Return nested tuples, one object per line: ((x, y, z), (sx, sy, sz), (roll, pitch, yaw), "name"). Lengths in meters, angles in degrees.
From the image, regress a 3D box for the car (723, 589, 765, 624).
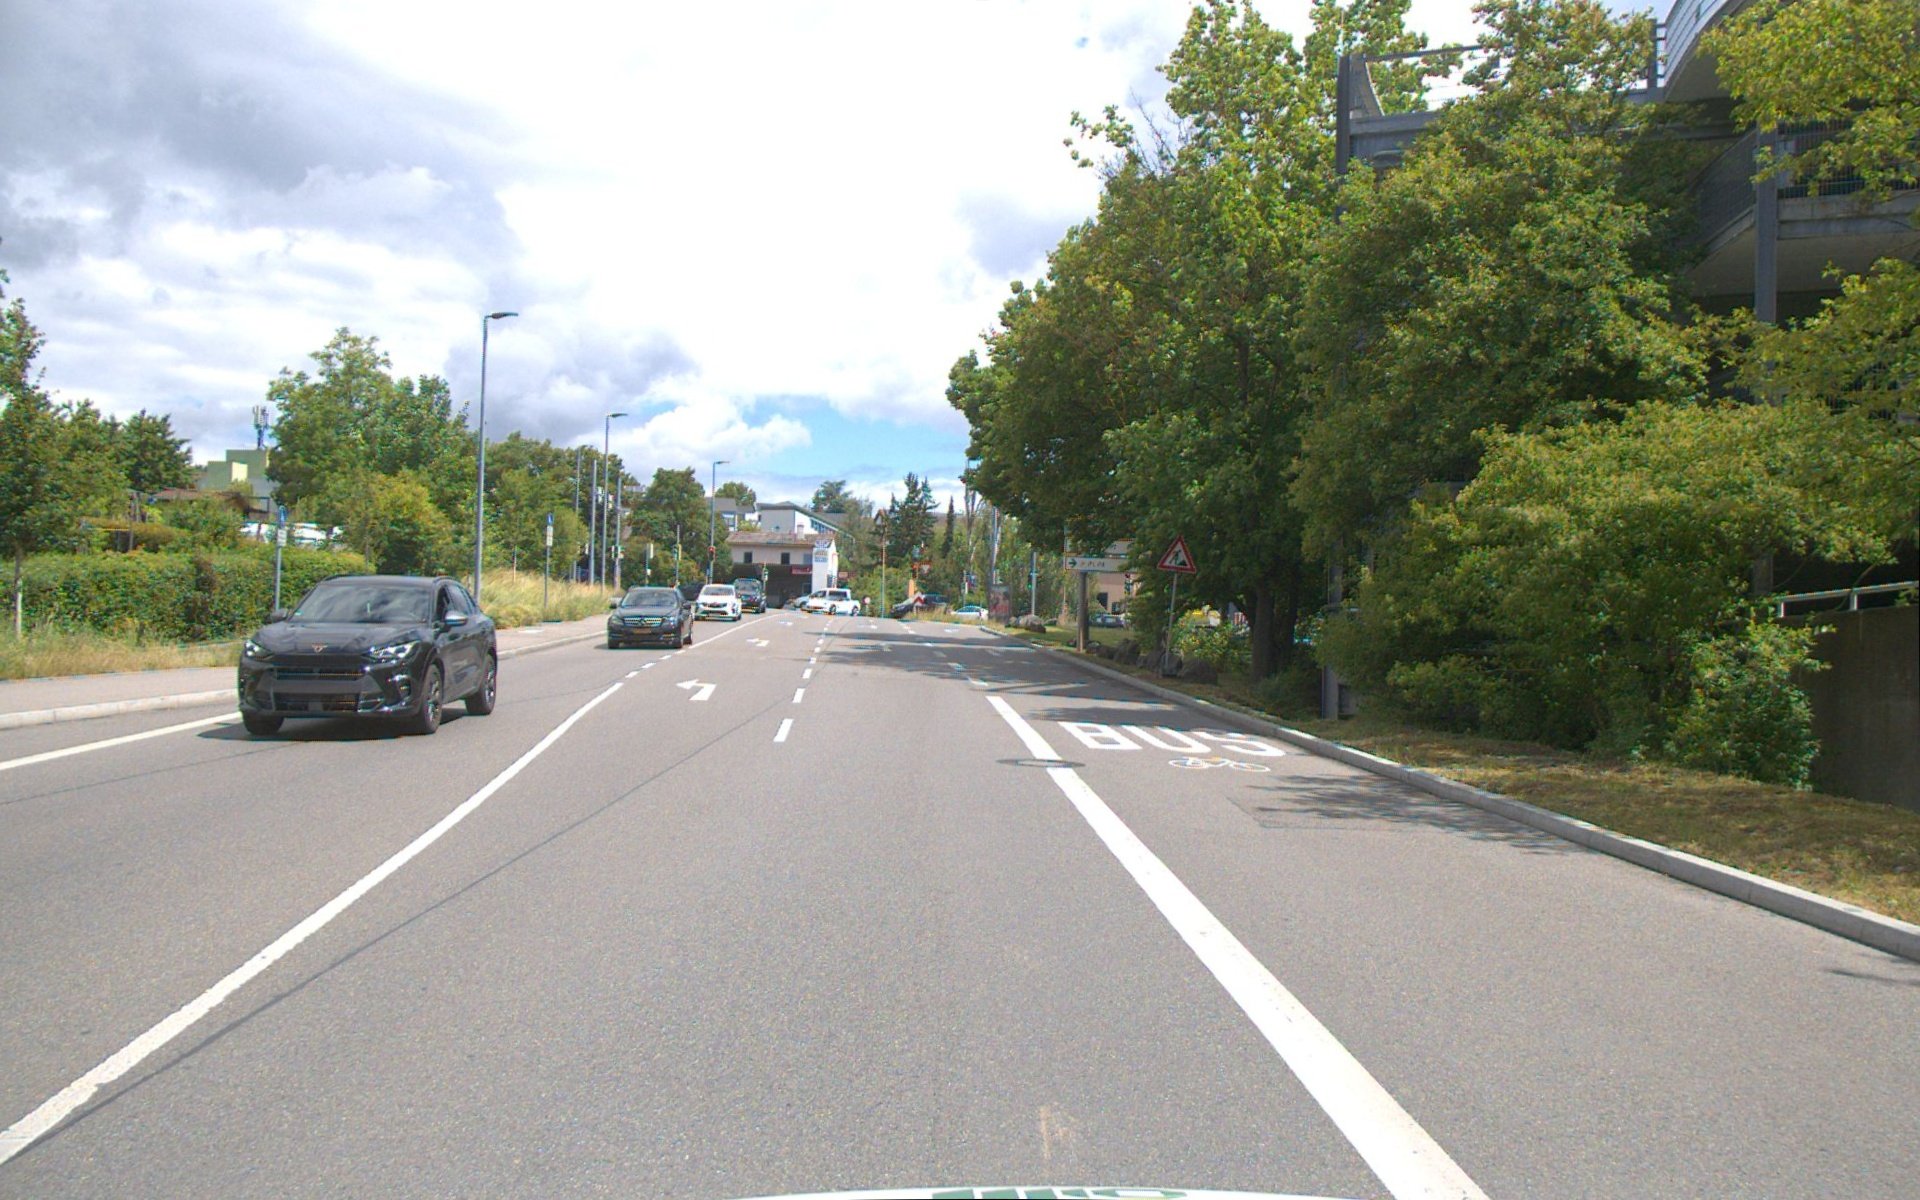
((-11.049, 0.319, 84.858), (1.785, 1.683, 4.530), (1, 0, -3), "car")

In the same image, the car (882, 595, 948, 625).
((-3.016, 0.699, 112.617), (1.757, 1.810, 4.785), (0, -3, 40), "car")

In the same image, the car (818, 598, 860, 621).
((-10.212, 0.813, 139.241), (1.883, 1.892, 3.764), (1, -2, -35), "car")

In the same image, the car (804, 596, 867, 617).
((-7.950, 0.443, 106.196), (1.868, 1.314, 4.603), (1, 0, 27), "car")

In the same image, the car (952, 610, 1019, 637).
((1.912, 1.772, 125.348), (4.698, 1.810, 1.790), (2, -2, 23), "car")

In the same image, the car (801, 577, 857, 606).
((-9.412, -0.605, 119.178), (3.906, 2.049, 1.999), (0, -1, -1), "car")

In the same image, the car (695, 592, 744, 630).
((-9.756, 0.436, 67.343), (1.731, 1.467, 3.896), (0, 0, -5), "car")

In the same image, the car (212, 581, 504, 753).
((-6.204, 0.595, 17.619), (1.787, 1.584, 4.624), (0, 0, -5), "car")

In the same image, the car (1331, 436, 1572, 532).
((7.980, -1.859, 26.827), (3.616, 1.436, 1.659), (1, 1, 22), "car")

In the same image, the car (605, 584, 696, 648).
((-7.551, 0.386, 40.673), (1.731, 1.467, 4.373), (0, 0, -5), "car")

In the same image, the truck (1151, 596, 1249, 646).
((17.664, 1.547, 122.063), (6.802, 3.642, 2.846), (0, -1, 0), "truck")
